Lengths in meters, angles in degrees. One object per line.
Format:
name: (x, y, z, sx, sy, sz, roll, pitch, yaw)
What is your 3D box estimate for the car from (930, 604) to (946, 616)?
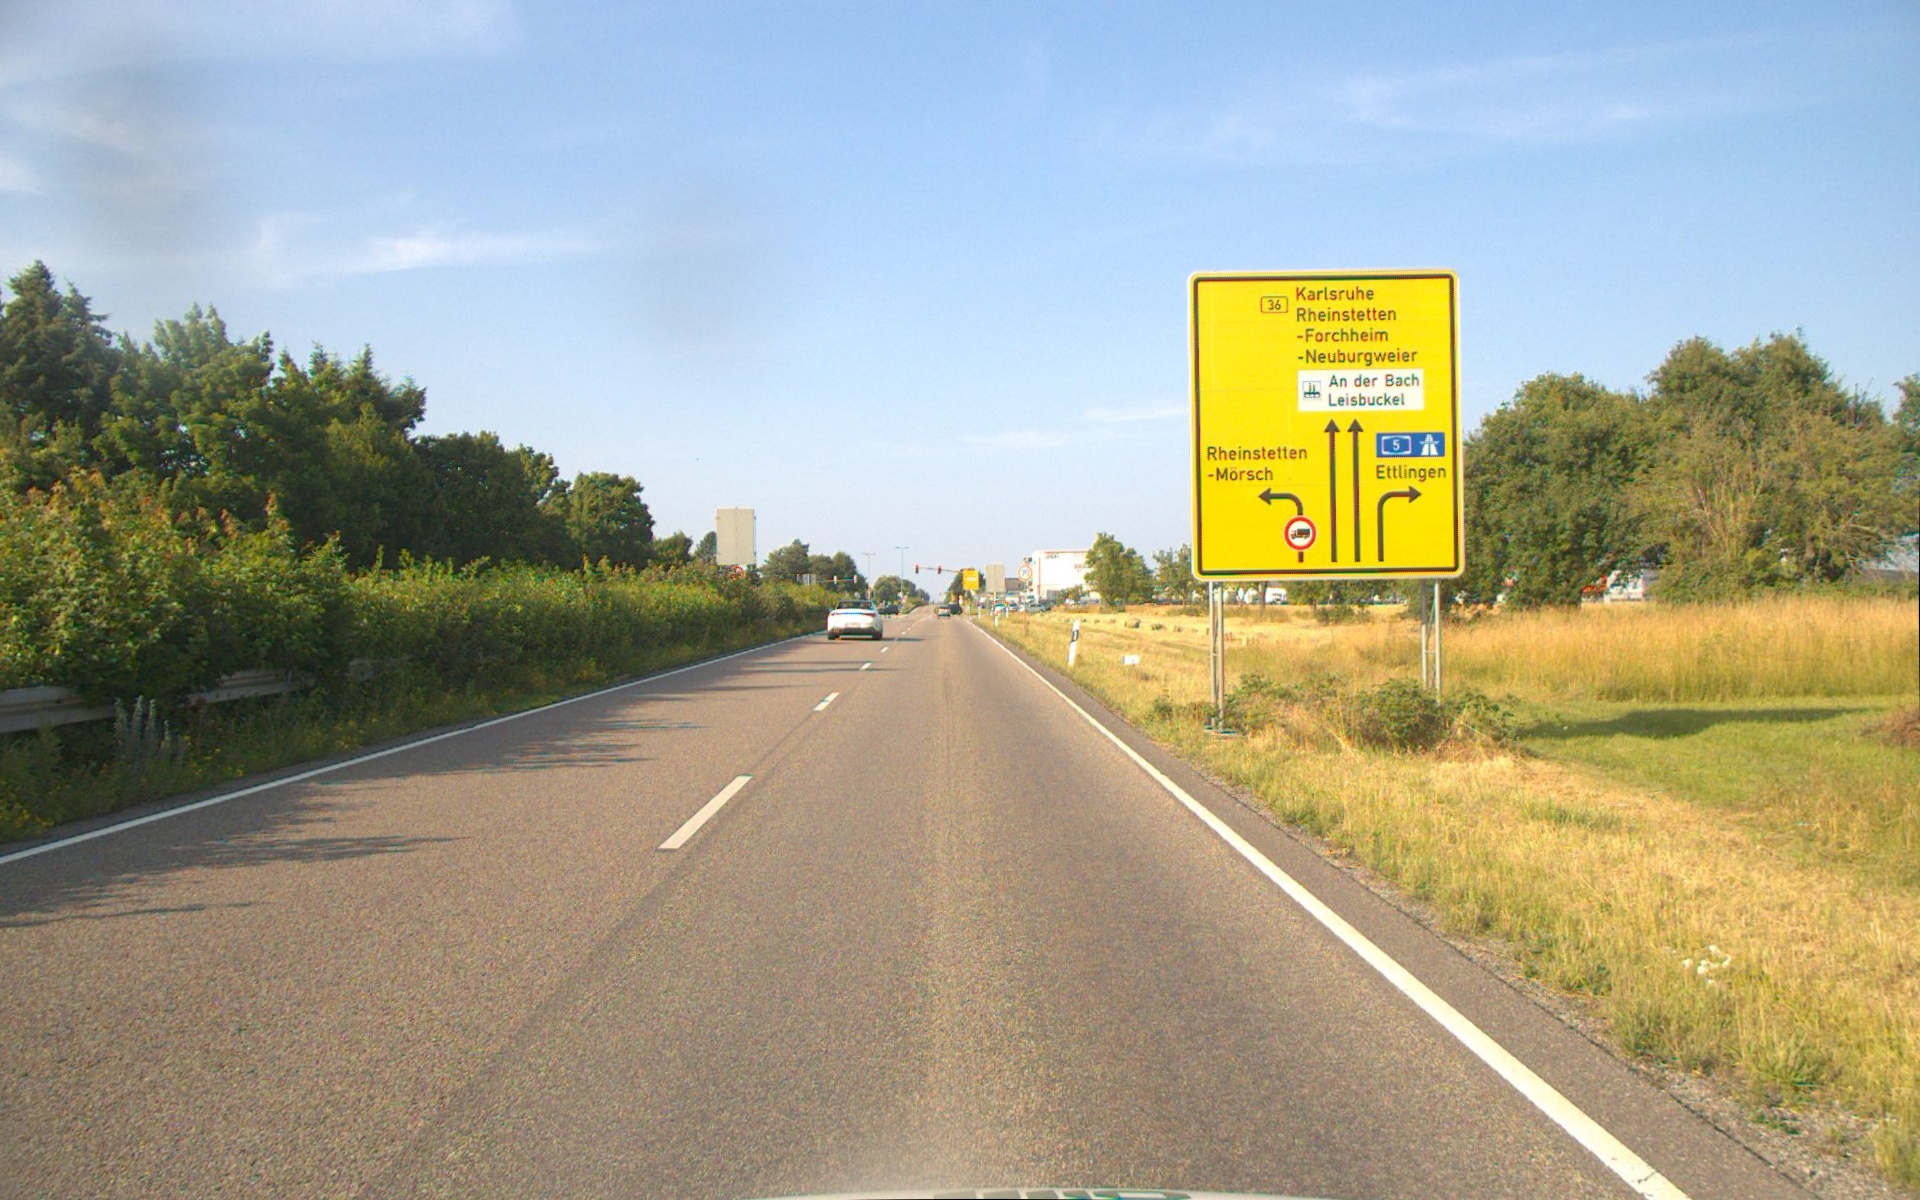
car: (-2.876, 1.280, 216.981, 1.953, 1.512, 3.999, 1, 0, -1)

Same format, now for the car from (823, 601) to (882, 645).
car: (-3.765, 0.789, 58.479, 1.871, 1.447, 3.999, 1, 0, -1)

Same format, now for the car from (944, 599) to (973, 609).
car: (-0.235, 0.661, 250.251, 3.929, 1.432, 1.942, 1, 0, -21)
